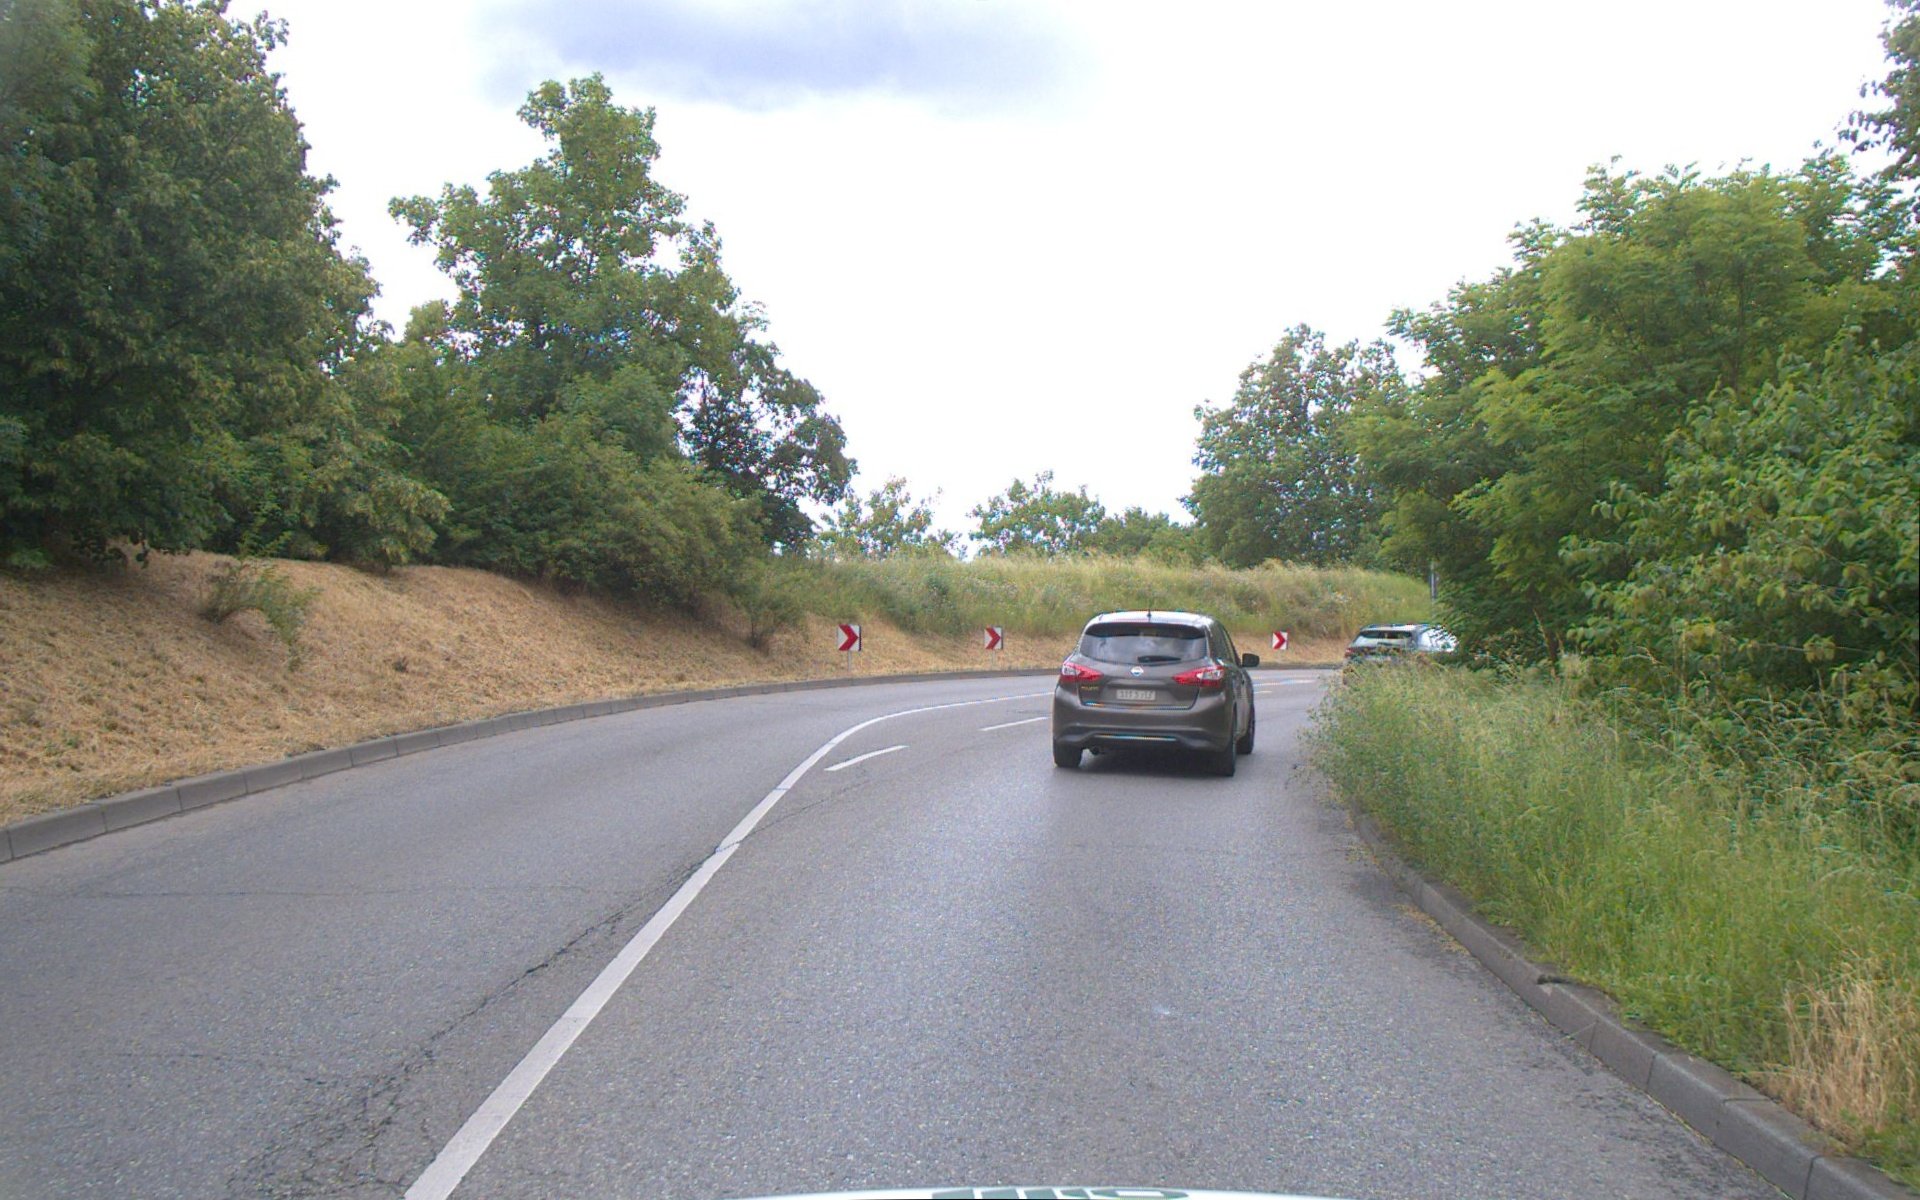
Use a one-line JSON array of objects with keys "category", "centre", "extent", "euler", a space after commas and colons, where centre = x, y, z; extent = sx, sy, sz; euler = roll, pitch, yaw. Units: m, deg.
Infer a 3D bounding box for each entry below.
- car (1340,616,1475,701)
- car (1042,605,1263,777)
[{"category": "car", "centre": [8.946, 1.102, 32.868], "extent": [1.862, 1.492, 3.996], "euler": [1, 0, 26]}, {"category": "car", "centre": [2.106, 0.824, 17.094], "extent": [1.805, 1.519, 4.003], "euler": [1, 0, 13]}]
